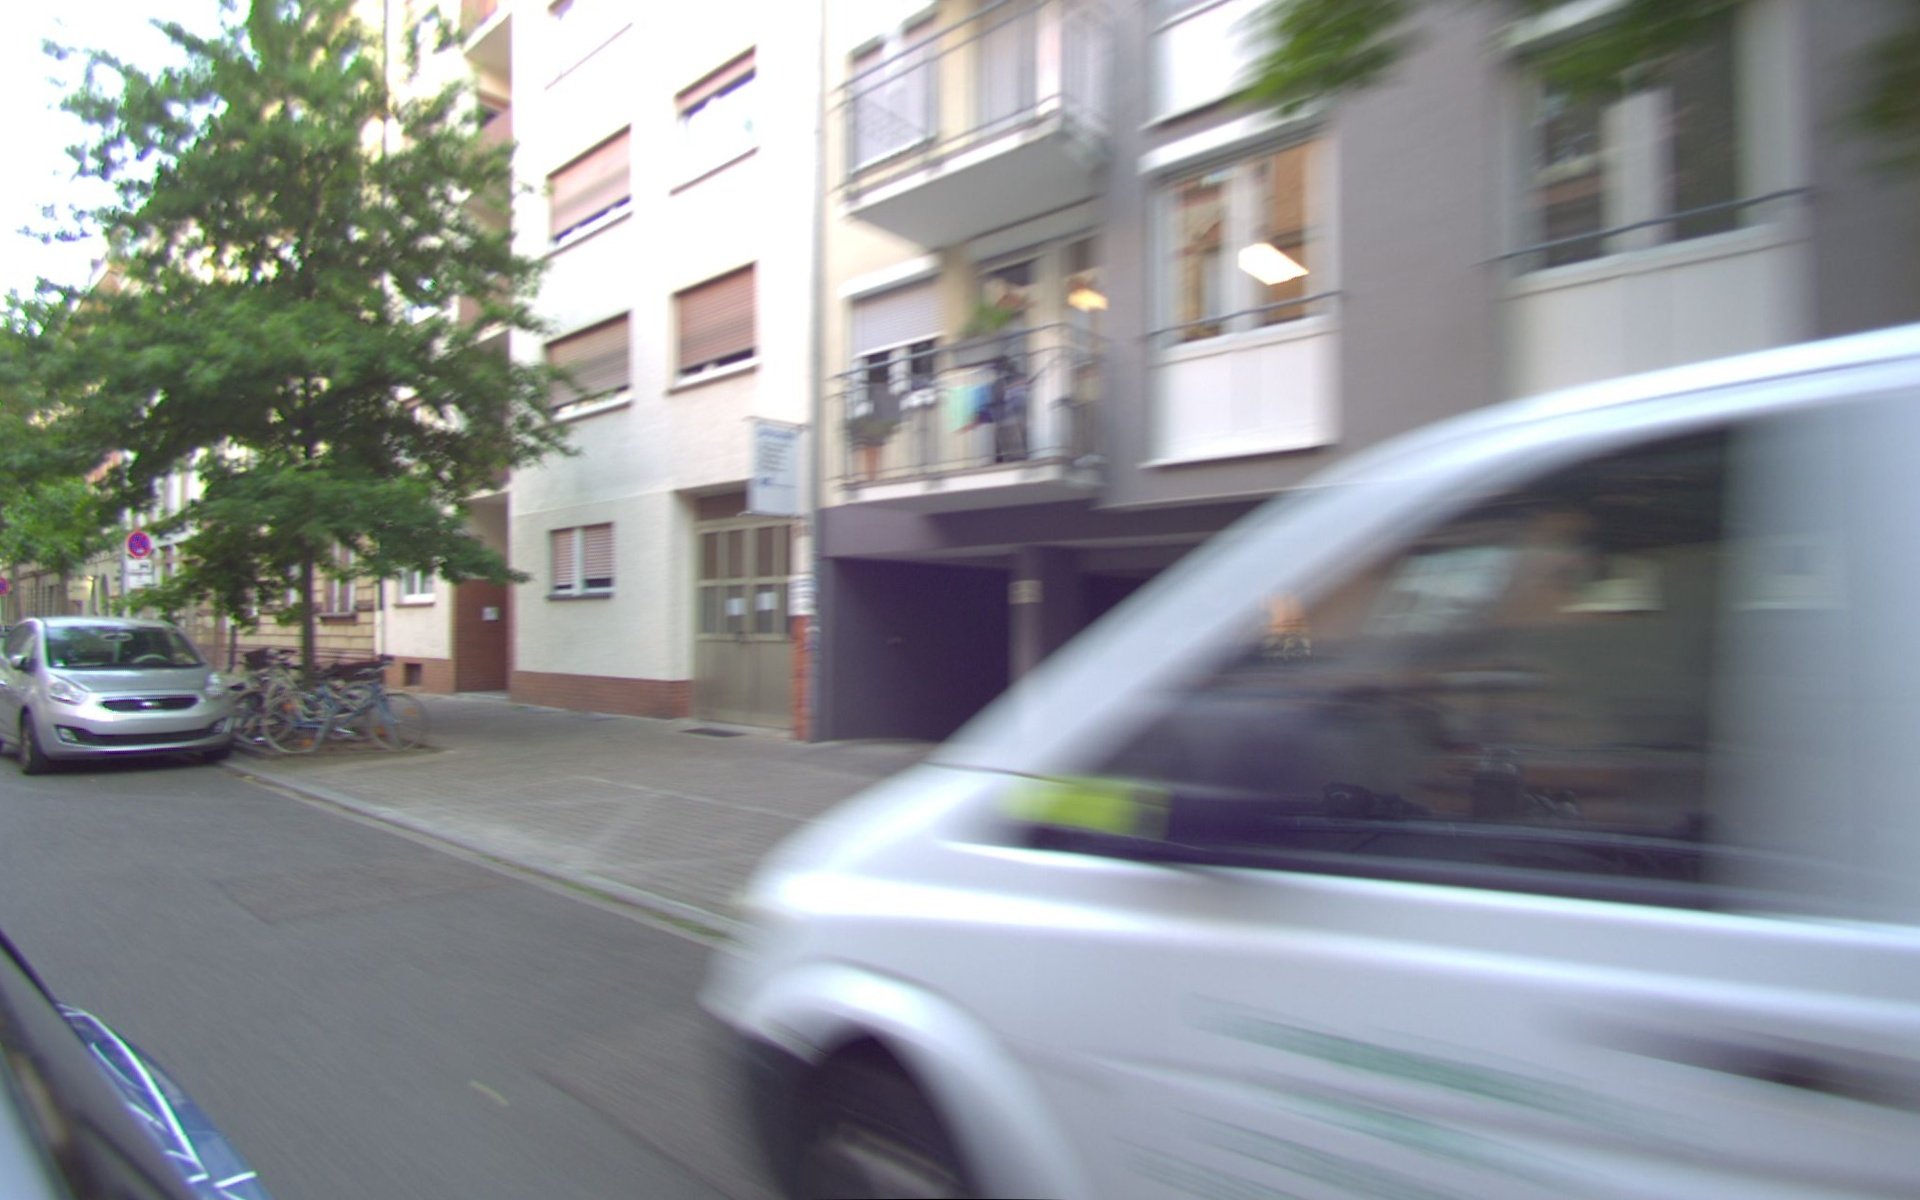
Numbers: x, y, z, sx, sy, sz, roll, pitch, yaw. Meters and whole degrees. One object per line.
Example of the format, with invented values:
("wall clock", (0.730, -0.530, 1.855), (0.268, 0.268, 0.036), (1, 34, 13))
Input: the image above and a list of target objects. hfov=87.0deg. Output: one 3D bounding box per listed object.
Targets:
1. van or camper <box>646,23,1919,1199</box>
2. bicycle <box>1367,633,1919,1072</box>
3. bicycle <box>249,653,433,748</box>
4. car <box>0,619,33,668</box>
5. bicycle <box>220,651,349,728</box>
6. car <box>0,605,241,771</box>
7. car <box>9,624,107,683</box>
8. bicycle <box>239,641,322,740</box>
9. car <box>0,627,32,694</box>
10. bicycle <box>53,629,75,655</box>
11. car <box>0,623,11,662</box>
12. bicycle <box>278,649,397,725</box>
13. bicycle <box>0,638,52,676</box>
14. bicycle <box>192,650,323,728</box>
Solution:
("van or camper", (1.699, 0.390, 1.486), (4.748, 1.857, 1.858), (-2, -2, 40))
("bicycle", (2.306, 0.717, 3.713), (0.688, 1.172, 1.825), (0, -1, -7))
("bicycle", (-7.054, 1.128, 11.603), (1.702, 1.002, 0.578), (0, -2, -15))
("car", (-33.425, 1.530, 34.961), (4.077, 1.592, 1.688), (-2, 0, 42))
("bicycle", (-9.220, 1.190, 13.884), (0.379, 0.905, 1.698), (-1, 0, 11))
("car", (-9.817, 0.876, 11.481), (3.995, 1.575, 1.647), (-1, -2, 38))
("car", (-24.999, 1.434, 28.005), (3.564, 1.447, 1.571), (-1, 0, 41))
("bicycle", (-8.397, 1.084, 12.484), (1.664, 1.112, 0.415), (-1, 0, 41))
("car", (-22.322, 1.340, 22.889), (3.751, 1.431, 1.563), (-1, -2, 41))
("bicycle", (-39.308, 1.832, 44.383), (1.794, 1.106, 0.520), (-1, -1, 42))
("car", (-39.845, 1.733, 40.841), (4.683, 1.529, 1.787), (-1, 0, 41))
("bicycle", (-8.591, 1.176, 14.045), (0.379, 0.905, 1.659), (-1, 0, 11))
("bicycle", (-28.603, 1.725, 30.489), (1.800, 1.093, 0.669), (-1, 0, -6))
("bicycle", (-9.664, 1.198, 13.986), (0.379, 0.914, 1.698), (-1, 0, 11))
